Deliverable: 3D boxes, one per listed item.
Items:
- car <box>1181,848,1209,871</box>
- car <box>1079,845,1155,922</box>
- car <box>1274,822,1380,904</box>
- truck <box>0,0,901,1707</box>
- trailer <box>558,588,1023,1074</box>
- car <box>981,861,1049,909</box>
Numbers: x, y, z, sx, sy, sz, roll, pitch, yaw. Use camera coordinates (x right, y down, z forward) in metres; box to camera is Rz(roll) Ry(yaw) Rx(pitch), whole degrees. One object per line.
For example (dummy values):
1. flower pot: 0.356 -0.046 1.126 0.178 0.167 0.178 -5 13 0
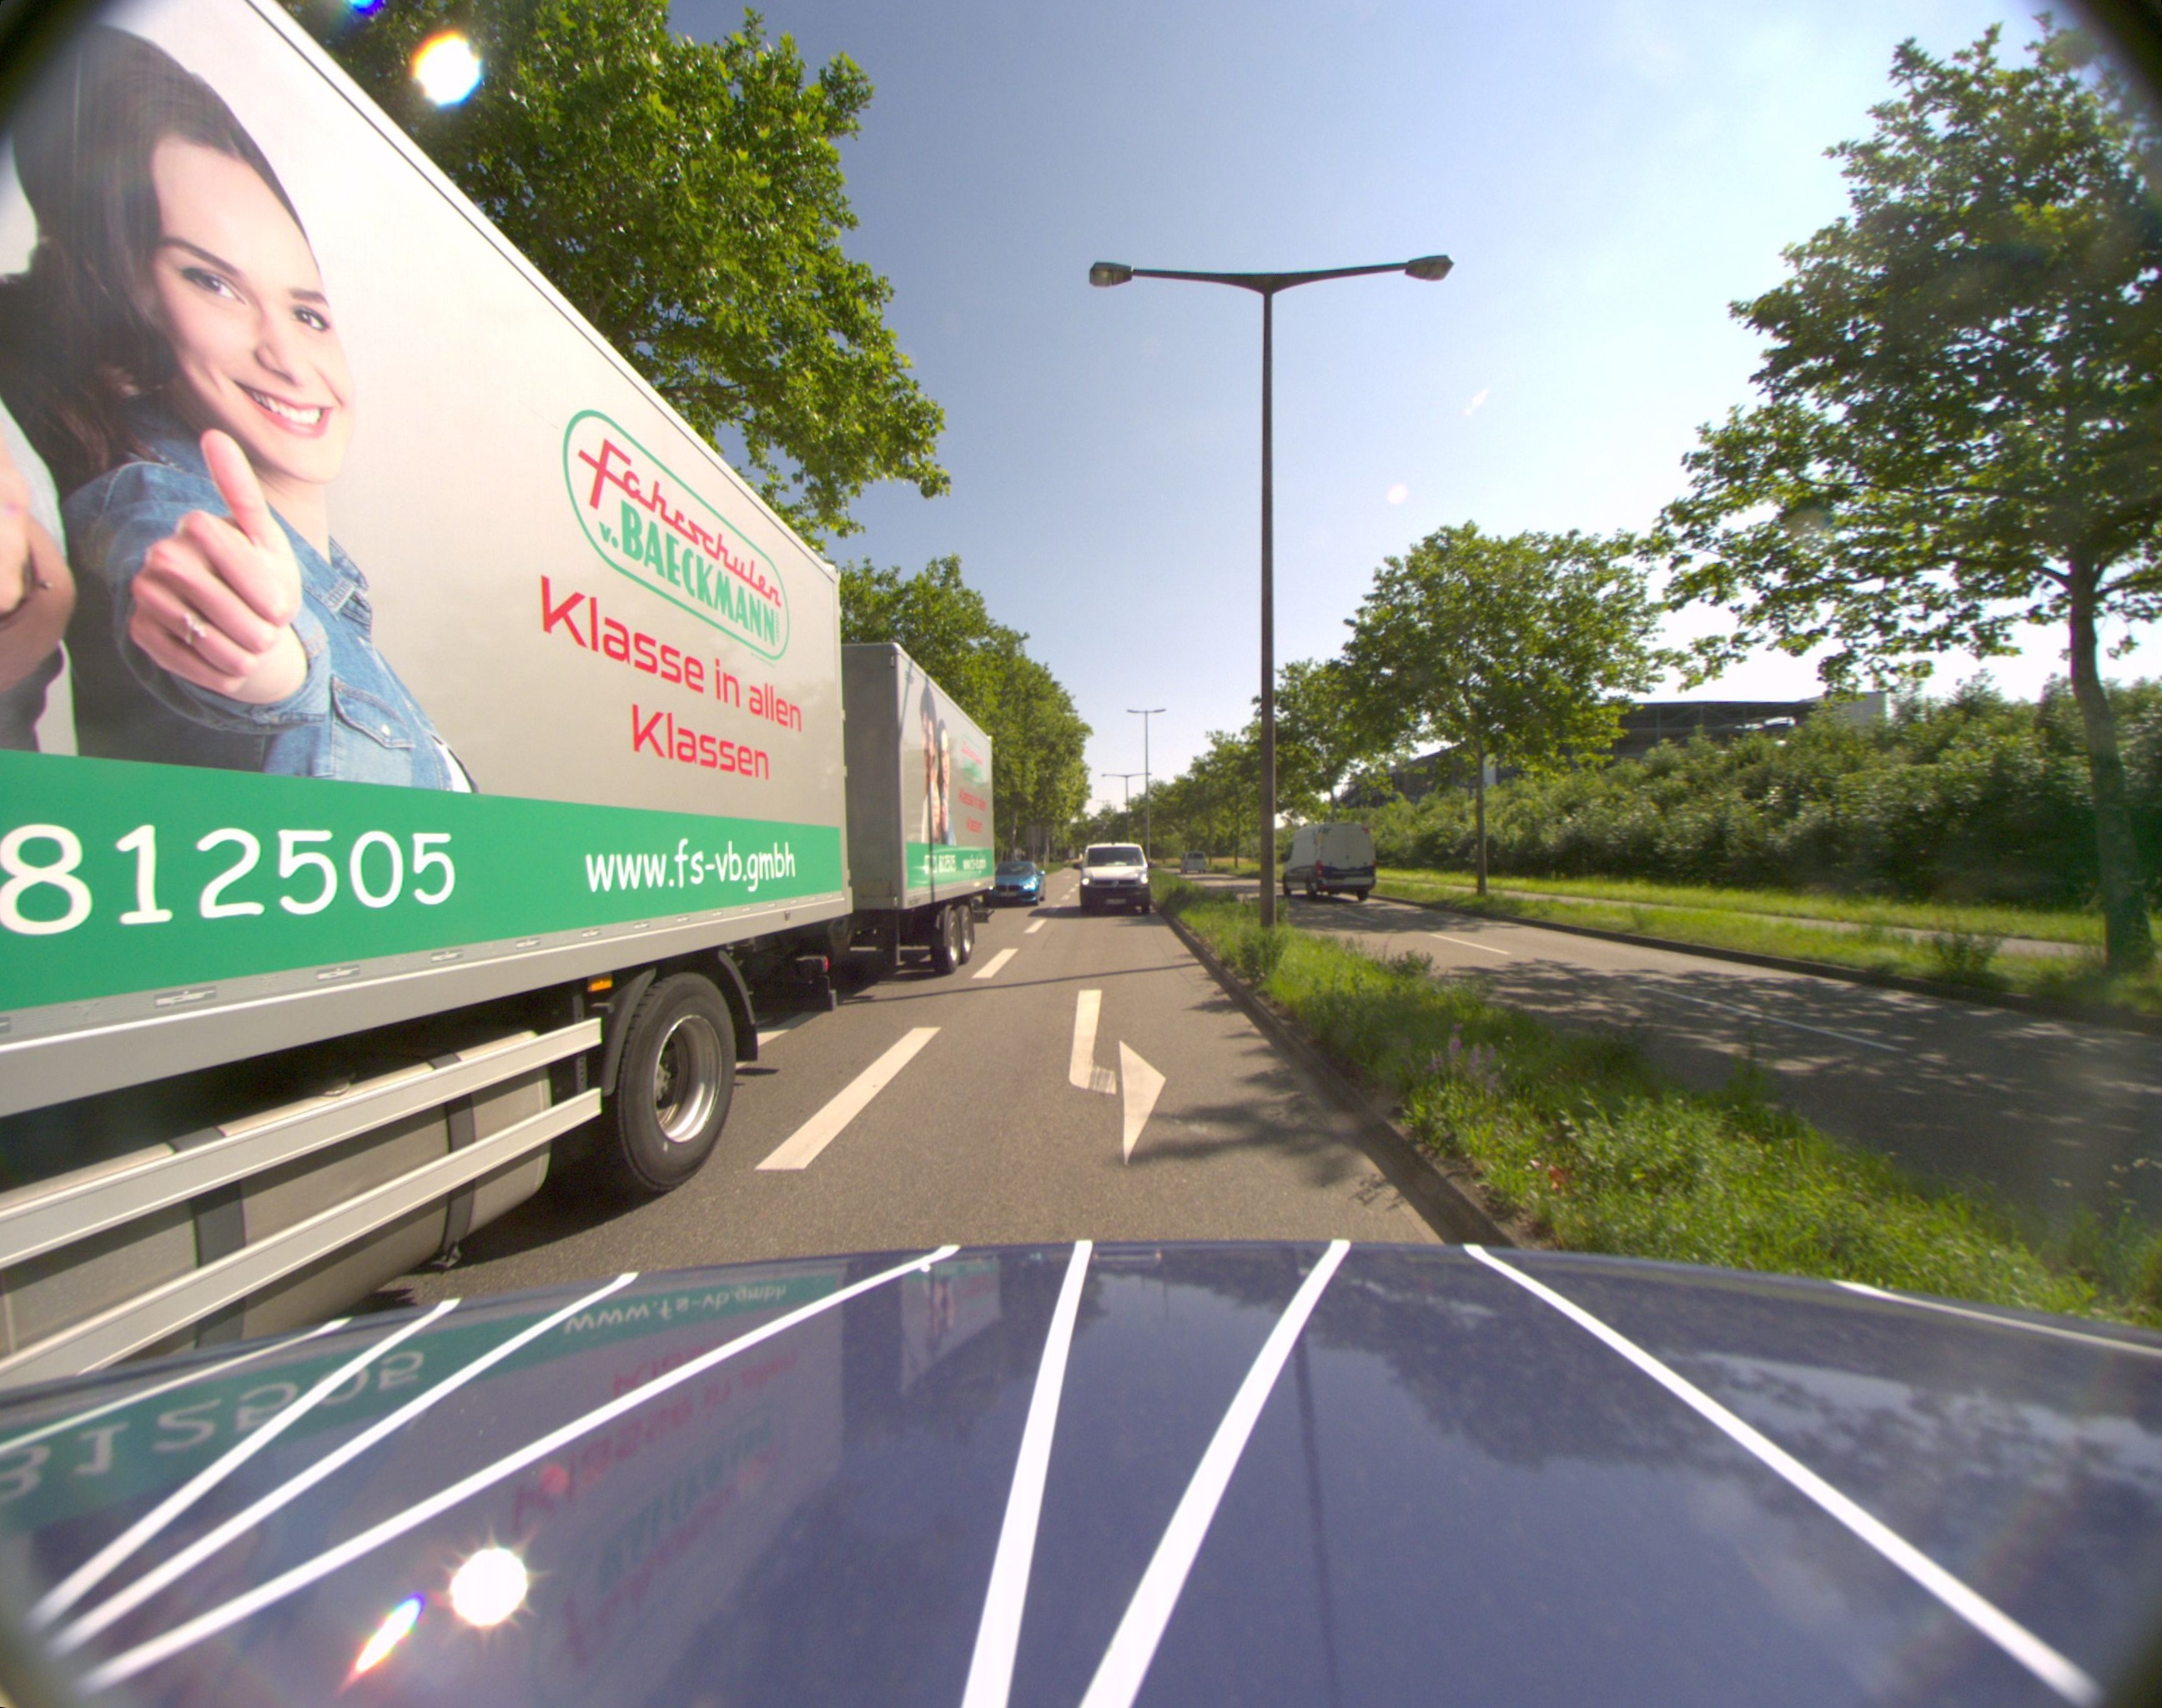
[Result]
1. car: 10.187 0.470 68.067 1.998 1.887 4.575 1 0 3
2. car: 0.912 0.712 21.212 1.872 1.889 4.881 0 0 1
3. car: 8.738 0.281 27.597 1.998 2.647 5.786 1 0 1
4. truck: -3.071 -0.306 1.694 2.735 3.867 8.723 -1 1 3
5. trailer: -2.629 -0.202 9.954 2.743 3.854 7.736 -1 1 3
6. car: -2.140 0.990 25.624 1.872 1.412 4.130 0 0 1
